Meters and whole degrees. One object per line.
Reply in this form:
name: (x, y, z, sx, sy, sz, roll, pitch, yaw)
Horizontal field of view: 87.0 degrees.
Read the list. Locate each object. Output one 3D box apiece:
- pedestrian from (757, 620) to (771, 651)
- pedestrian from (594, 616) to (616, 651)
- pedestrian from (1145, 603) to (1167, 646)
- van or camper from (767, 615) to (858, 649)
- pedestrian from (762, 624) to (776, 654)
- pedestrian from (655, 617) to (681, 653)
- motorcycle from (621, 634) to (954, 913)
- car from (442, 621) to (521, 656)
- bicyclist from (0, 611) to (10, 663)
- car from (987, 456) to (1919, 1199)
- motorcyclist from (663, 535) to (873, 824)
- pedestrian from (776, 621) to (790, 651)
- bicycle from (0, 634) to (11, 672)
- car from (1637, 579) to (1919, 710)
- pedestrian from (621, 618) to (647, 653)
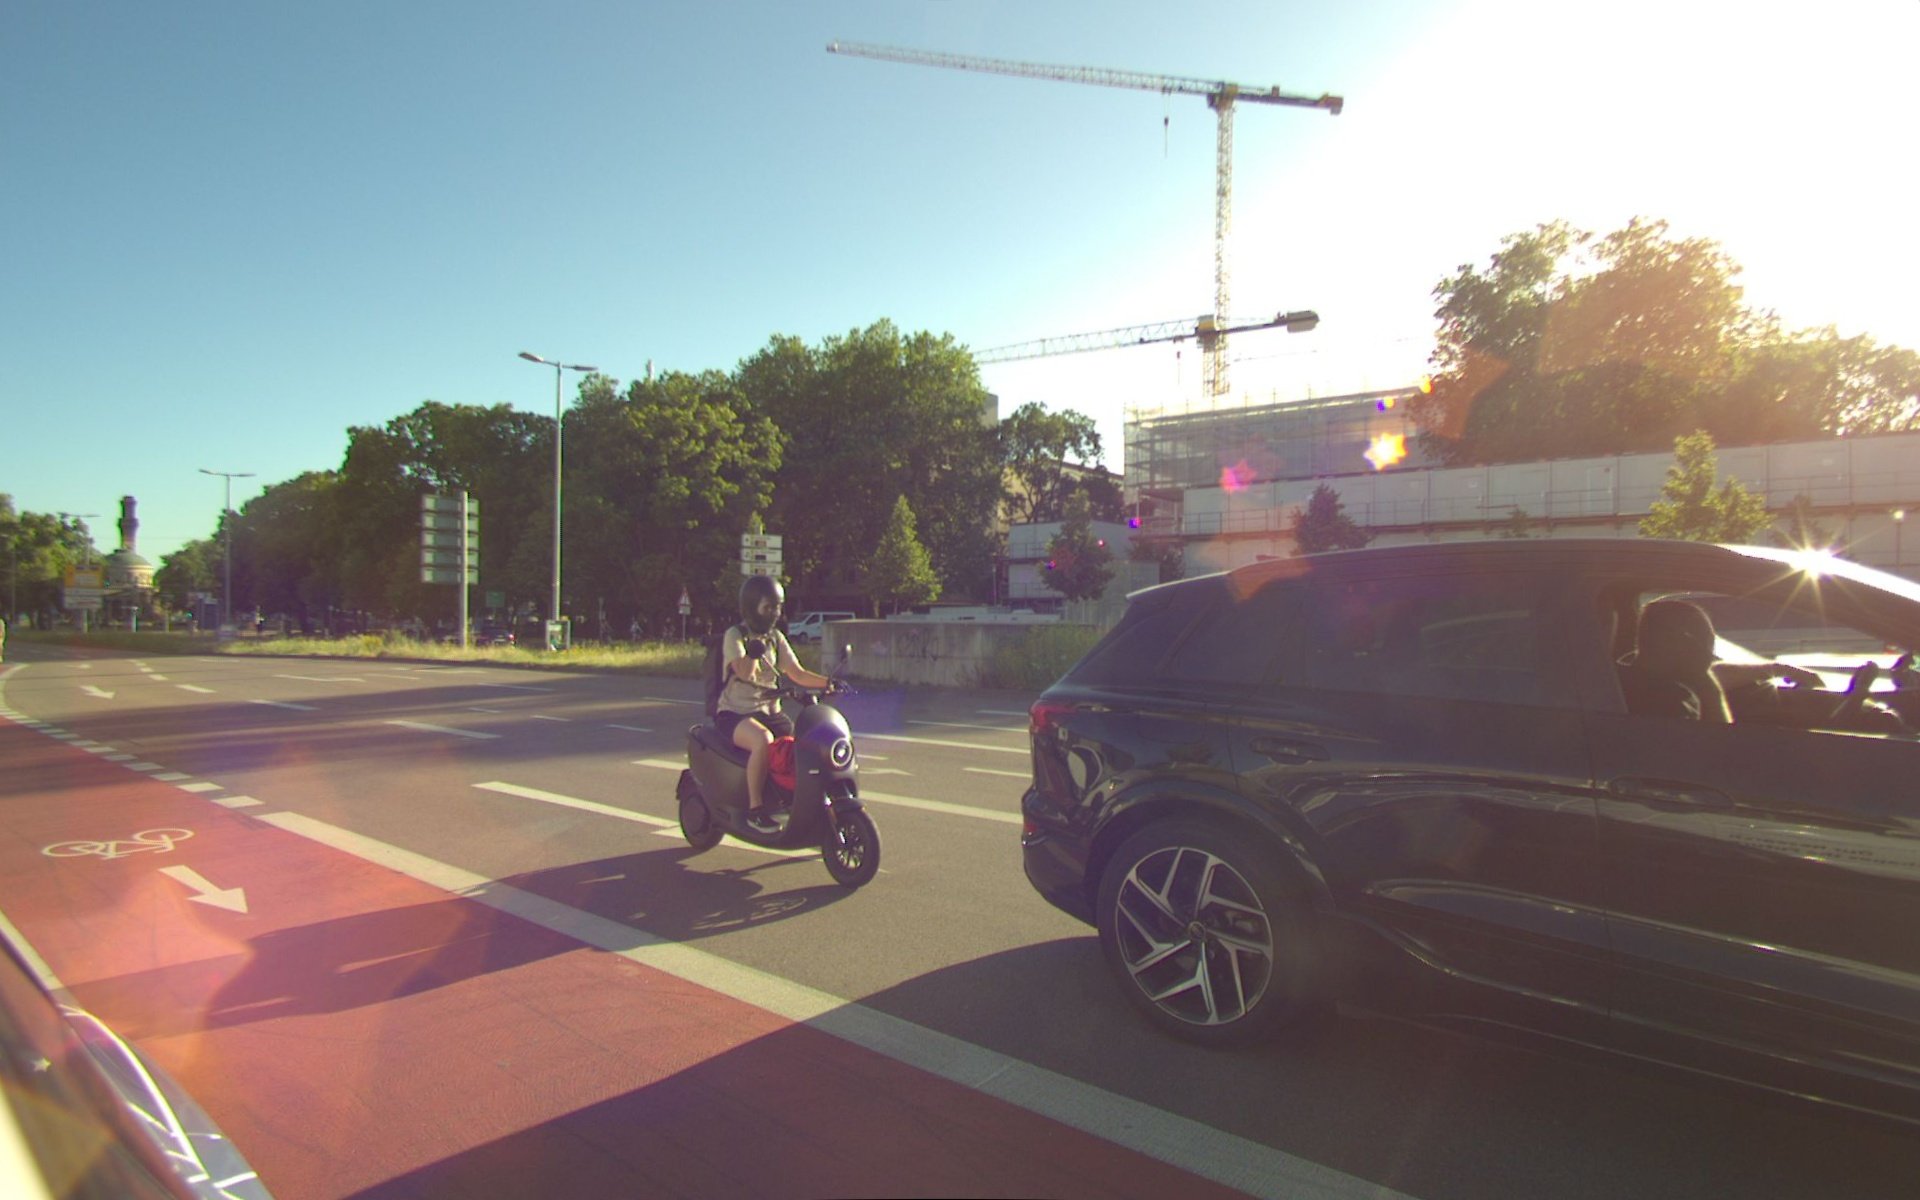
pedestrian: (-9.681, 1.744, 49.989, 0.494, 1.522, 0.492, -1, -2, 41)
pedestrian: (-21.262, 2.003, 60.578, 0.948, 2.029, 0.836, -1, 0, 15)
pedestrian: (7.436, 0.936, 38.362, 0.597, 1.614, 0.580, -1, 0, 38)
van or camper: (-8.960, 1.932, 61.890, 1.951, 1.960, 5.425, -2, -2, 44)
pedestrian: (-9.581, 1.953, 50.651, 0.494, 1.522, 0.492, -1, -2, 41)
pedestrian: (-16.100, 1.919, 55.814, 0.815, 1.978, 1.111, -1, 0, 41)
motorcycle: (-1.025, 0.843, 5.704, 1.943, 1.290, 0.817, -1, -2, 41)
car: (-21.932, 1.738, 46.306, 3.979, 1.492, 1.857, -1, -2, 41)
bicyclist: (-31.074, 1.188, 32.519, 0.877, 1.671, 0.666, -1, -2, 41)
car: (2.576, 0.549, 3.175, 4.660, 1.720, 2.144, -1, -1, 40)
motorcyclist: (-1.095, 0.420, 5.778, 0.877, 1.475, 0.813, -1, -2, 41)
pedestrian: (-8.996, 1.824, 51.341, 0.494, 1.522, 0.492, -1, -2, 41)
bicycle: (-31.113, 1.692, 32.552, 1.505, 1.201, 0.680, -1, -2, 41)
car: (13.926, 0.691, 16.293, 4.922, 1.937, 1.865, -1, -2, 37)
pedestrian: (-18.674, 2.023, 57.994, 1.054, 1.978, 0.942, -1, 0, 26)
